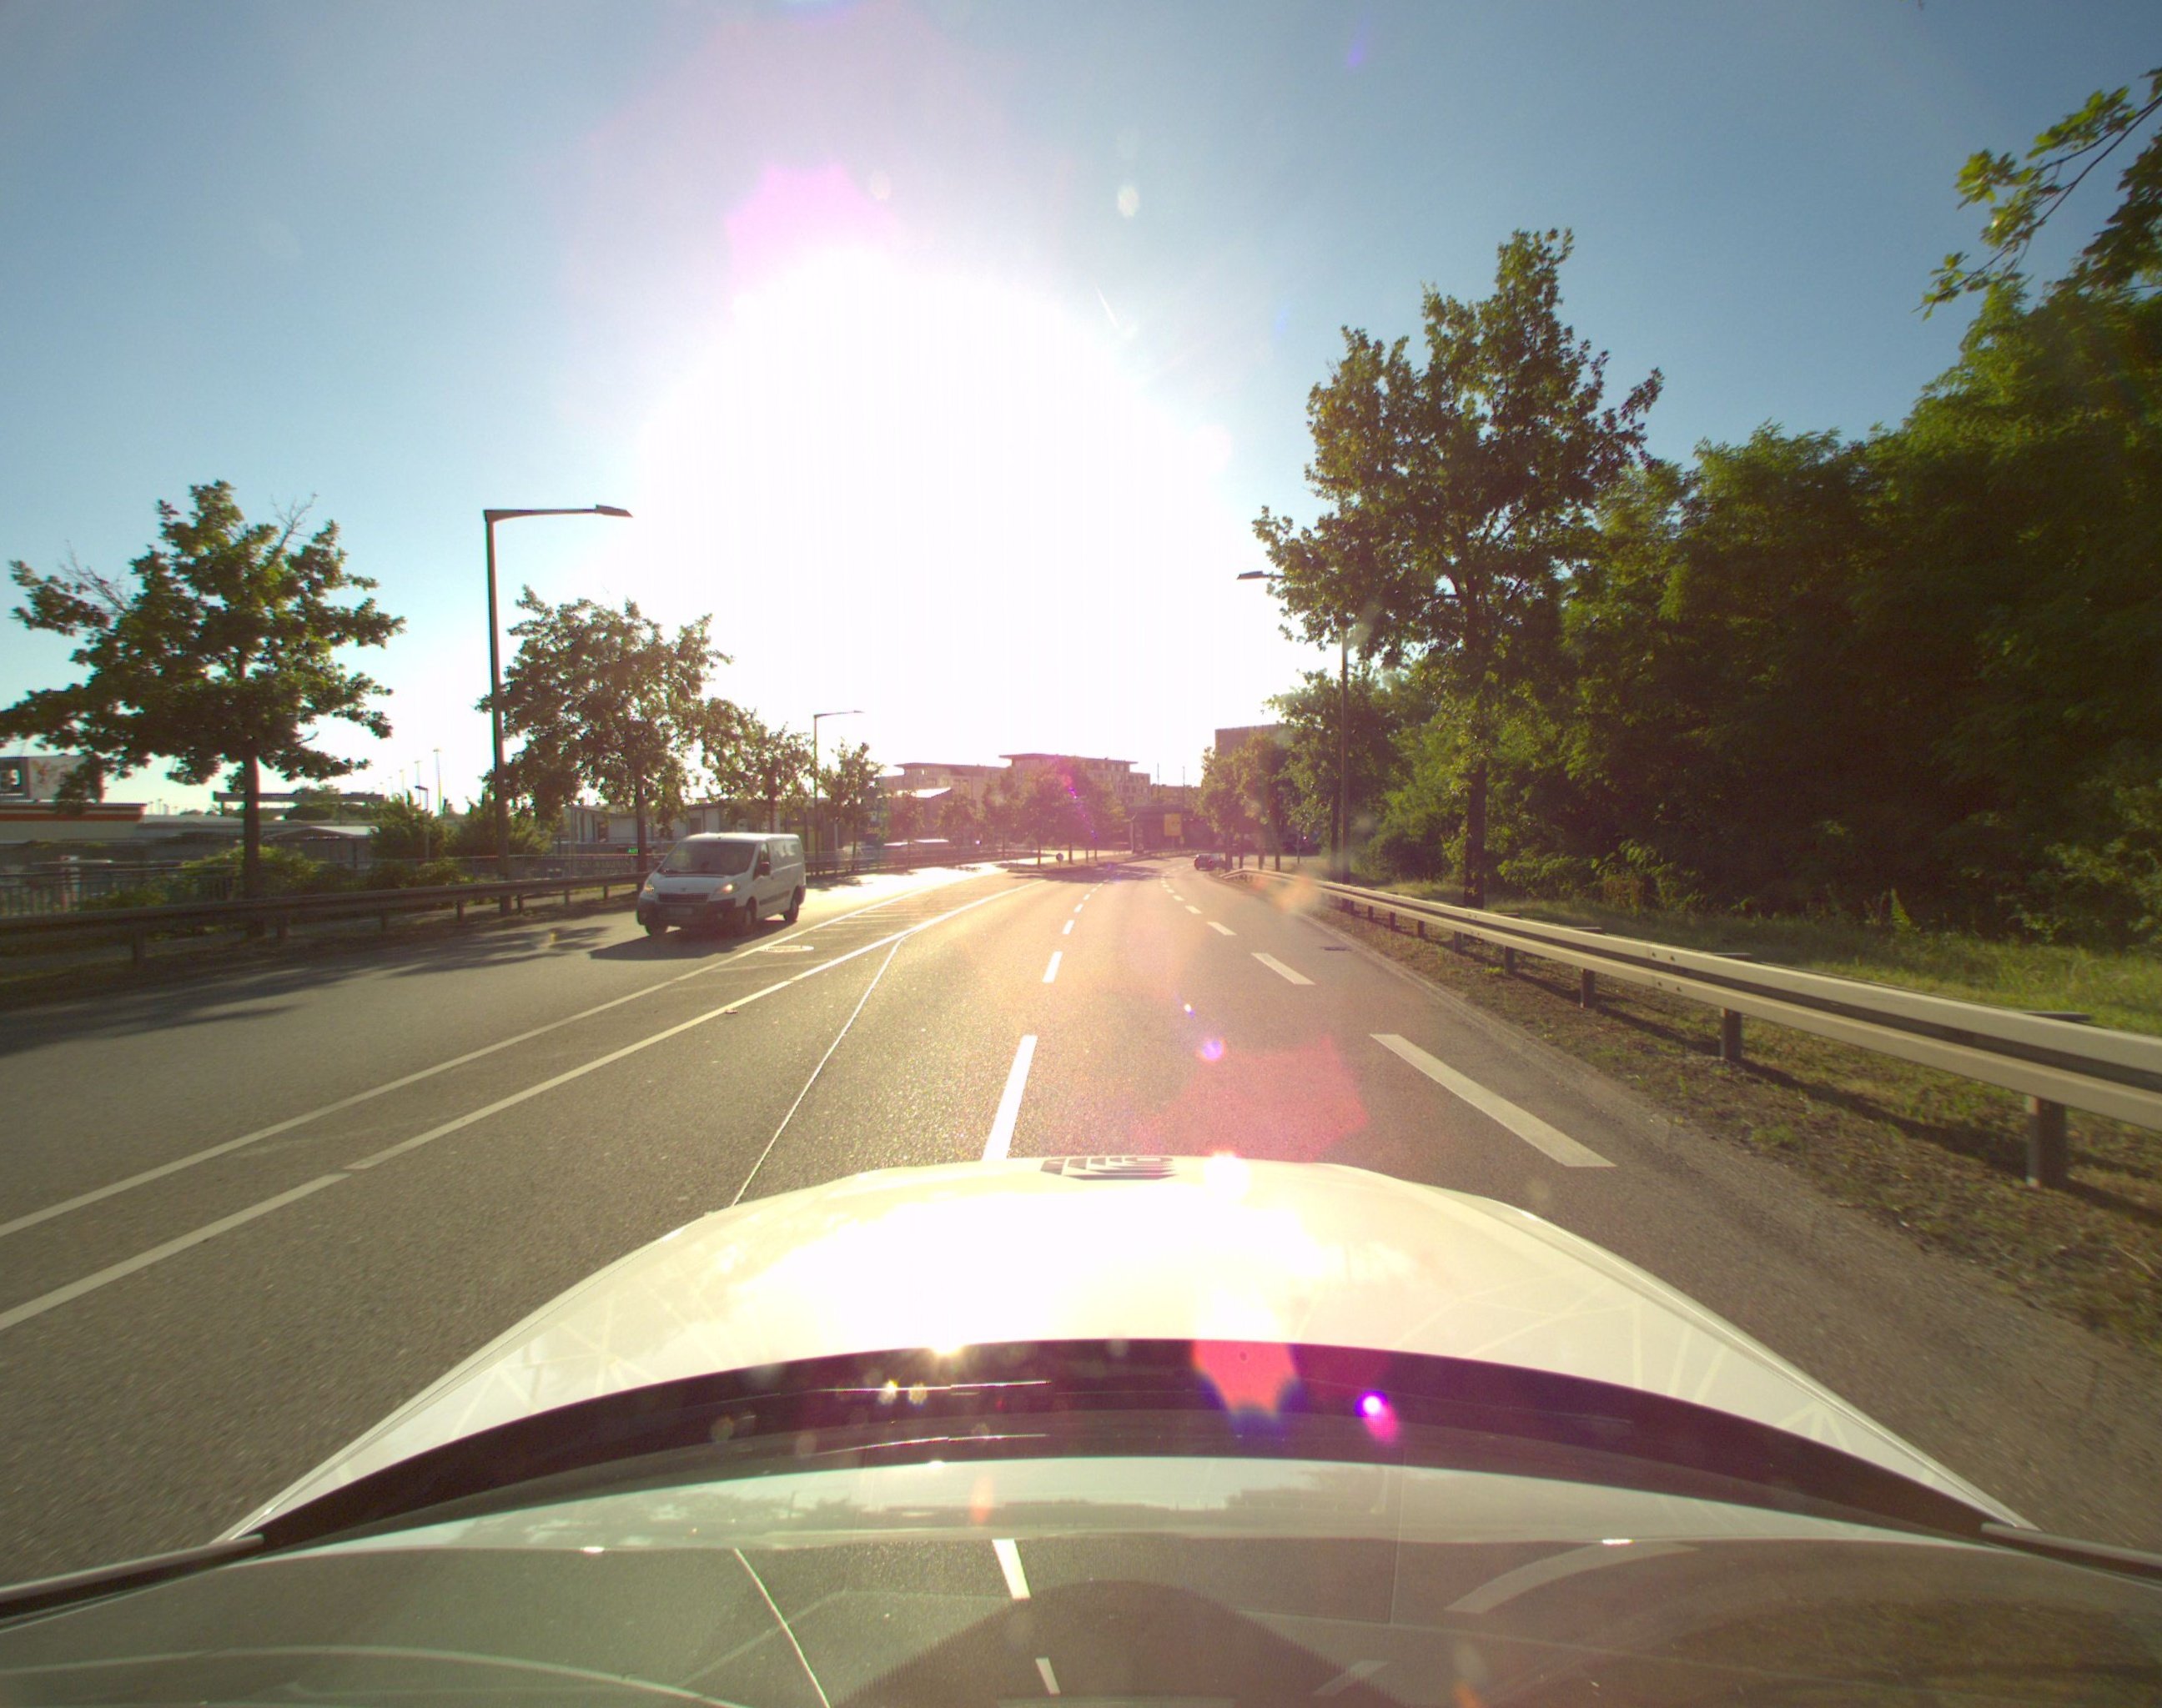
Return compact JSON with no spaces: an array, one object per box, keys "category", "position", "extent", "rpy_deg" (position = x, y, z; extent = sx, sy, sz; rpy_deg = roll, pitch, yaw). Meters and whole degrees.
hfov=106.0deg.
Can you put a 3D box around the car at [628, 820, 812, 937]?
[{"category":"car","position":[-7.123,0.444,16.769],"extent":[1.875,2.014,5.249],"rpy_deg":[1,0,-6]}]

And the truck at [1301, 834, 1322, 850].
[{"category":"truck","position":[37.015,-1.950,130.537],"extent":[2.091,2.519,4.429],"rpy_deg":[0,0,33]}]

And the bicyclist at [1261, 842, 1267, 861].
[{"category":"bicyclist","position":[18.939,-0.250,84.290],"extent":[0.677,1.906,0.836],"rpy_deg":[0,1,12]}]

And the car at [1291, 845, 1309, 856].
[{"category":"car","position":[33.209,-0.564,123.389],"extent":[1.756,1.495,3.856],"rpy_deg":[-1,1,28]}]

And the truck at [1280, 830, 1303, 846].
[{"category":"truck","position":[36.026,-2.751,139.049],"extent":[2.008,2.556,5.573],"rpy_deg":[1,2,34]}]

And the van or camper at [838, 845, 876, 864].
[{"category":"van or camper","position":[-23.654,0.065,86.042],"extent":[4.176,1.926,2.012],"rpy_deg":[0,0,43]}]

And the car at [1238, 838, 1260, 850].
[{"category":"car","position":[25.301,-1.529,122.197],"extent":[1.812,1.738,4.490],"rpy_deg":[1,2,31]}]

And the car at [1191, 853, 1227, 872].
[{"category":"car","position":[11.538,0.723,73.268],"extent":[1.975,1.508,4.025],"rpy_deg":[-3,0,28]}]

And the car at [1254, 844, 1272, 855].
[{"category":"car","position":[26.660,-0.608,119.112],"extent":[1.532,1.423,3.439],"rpy_deg":[-3,1,30]}]

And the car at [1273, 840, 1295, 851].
[{"category":"car","position":[29.267,-1.228,117.126],"extent":[1.724,1.454,4.636],"rpy_deg":[1,4,31]}]

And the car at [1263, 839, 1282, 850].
[{"category":"car","position":[31.348,-1.603,133.307],"extent":[1.823,1.719,4.025],"rpy_deg":[-3,0,29]}]

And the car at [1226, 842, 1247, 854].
[{"category":"car","position":[20.847,-0.819,109.323],"extent":[1.567,1.408,3.856],"rpy_deg":[1,2,30]}]

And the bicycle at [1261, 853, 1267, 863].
[{"category":"bicycle","position":[18.931,0.427,84.286],"extent":[0.575,0.963,2.897],"rpy_deg":[0,1,13]}]

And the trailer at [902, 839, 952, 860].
[{"category":"trailer","position":[-14.698,-0.461,78.421],"extent":[2.404,1.969,6.627],"rpy_deg":[0,1,11]}]
